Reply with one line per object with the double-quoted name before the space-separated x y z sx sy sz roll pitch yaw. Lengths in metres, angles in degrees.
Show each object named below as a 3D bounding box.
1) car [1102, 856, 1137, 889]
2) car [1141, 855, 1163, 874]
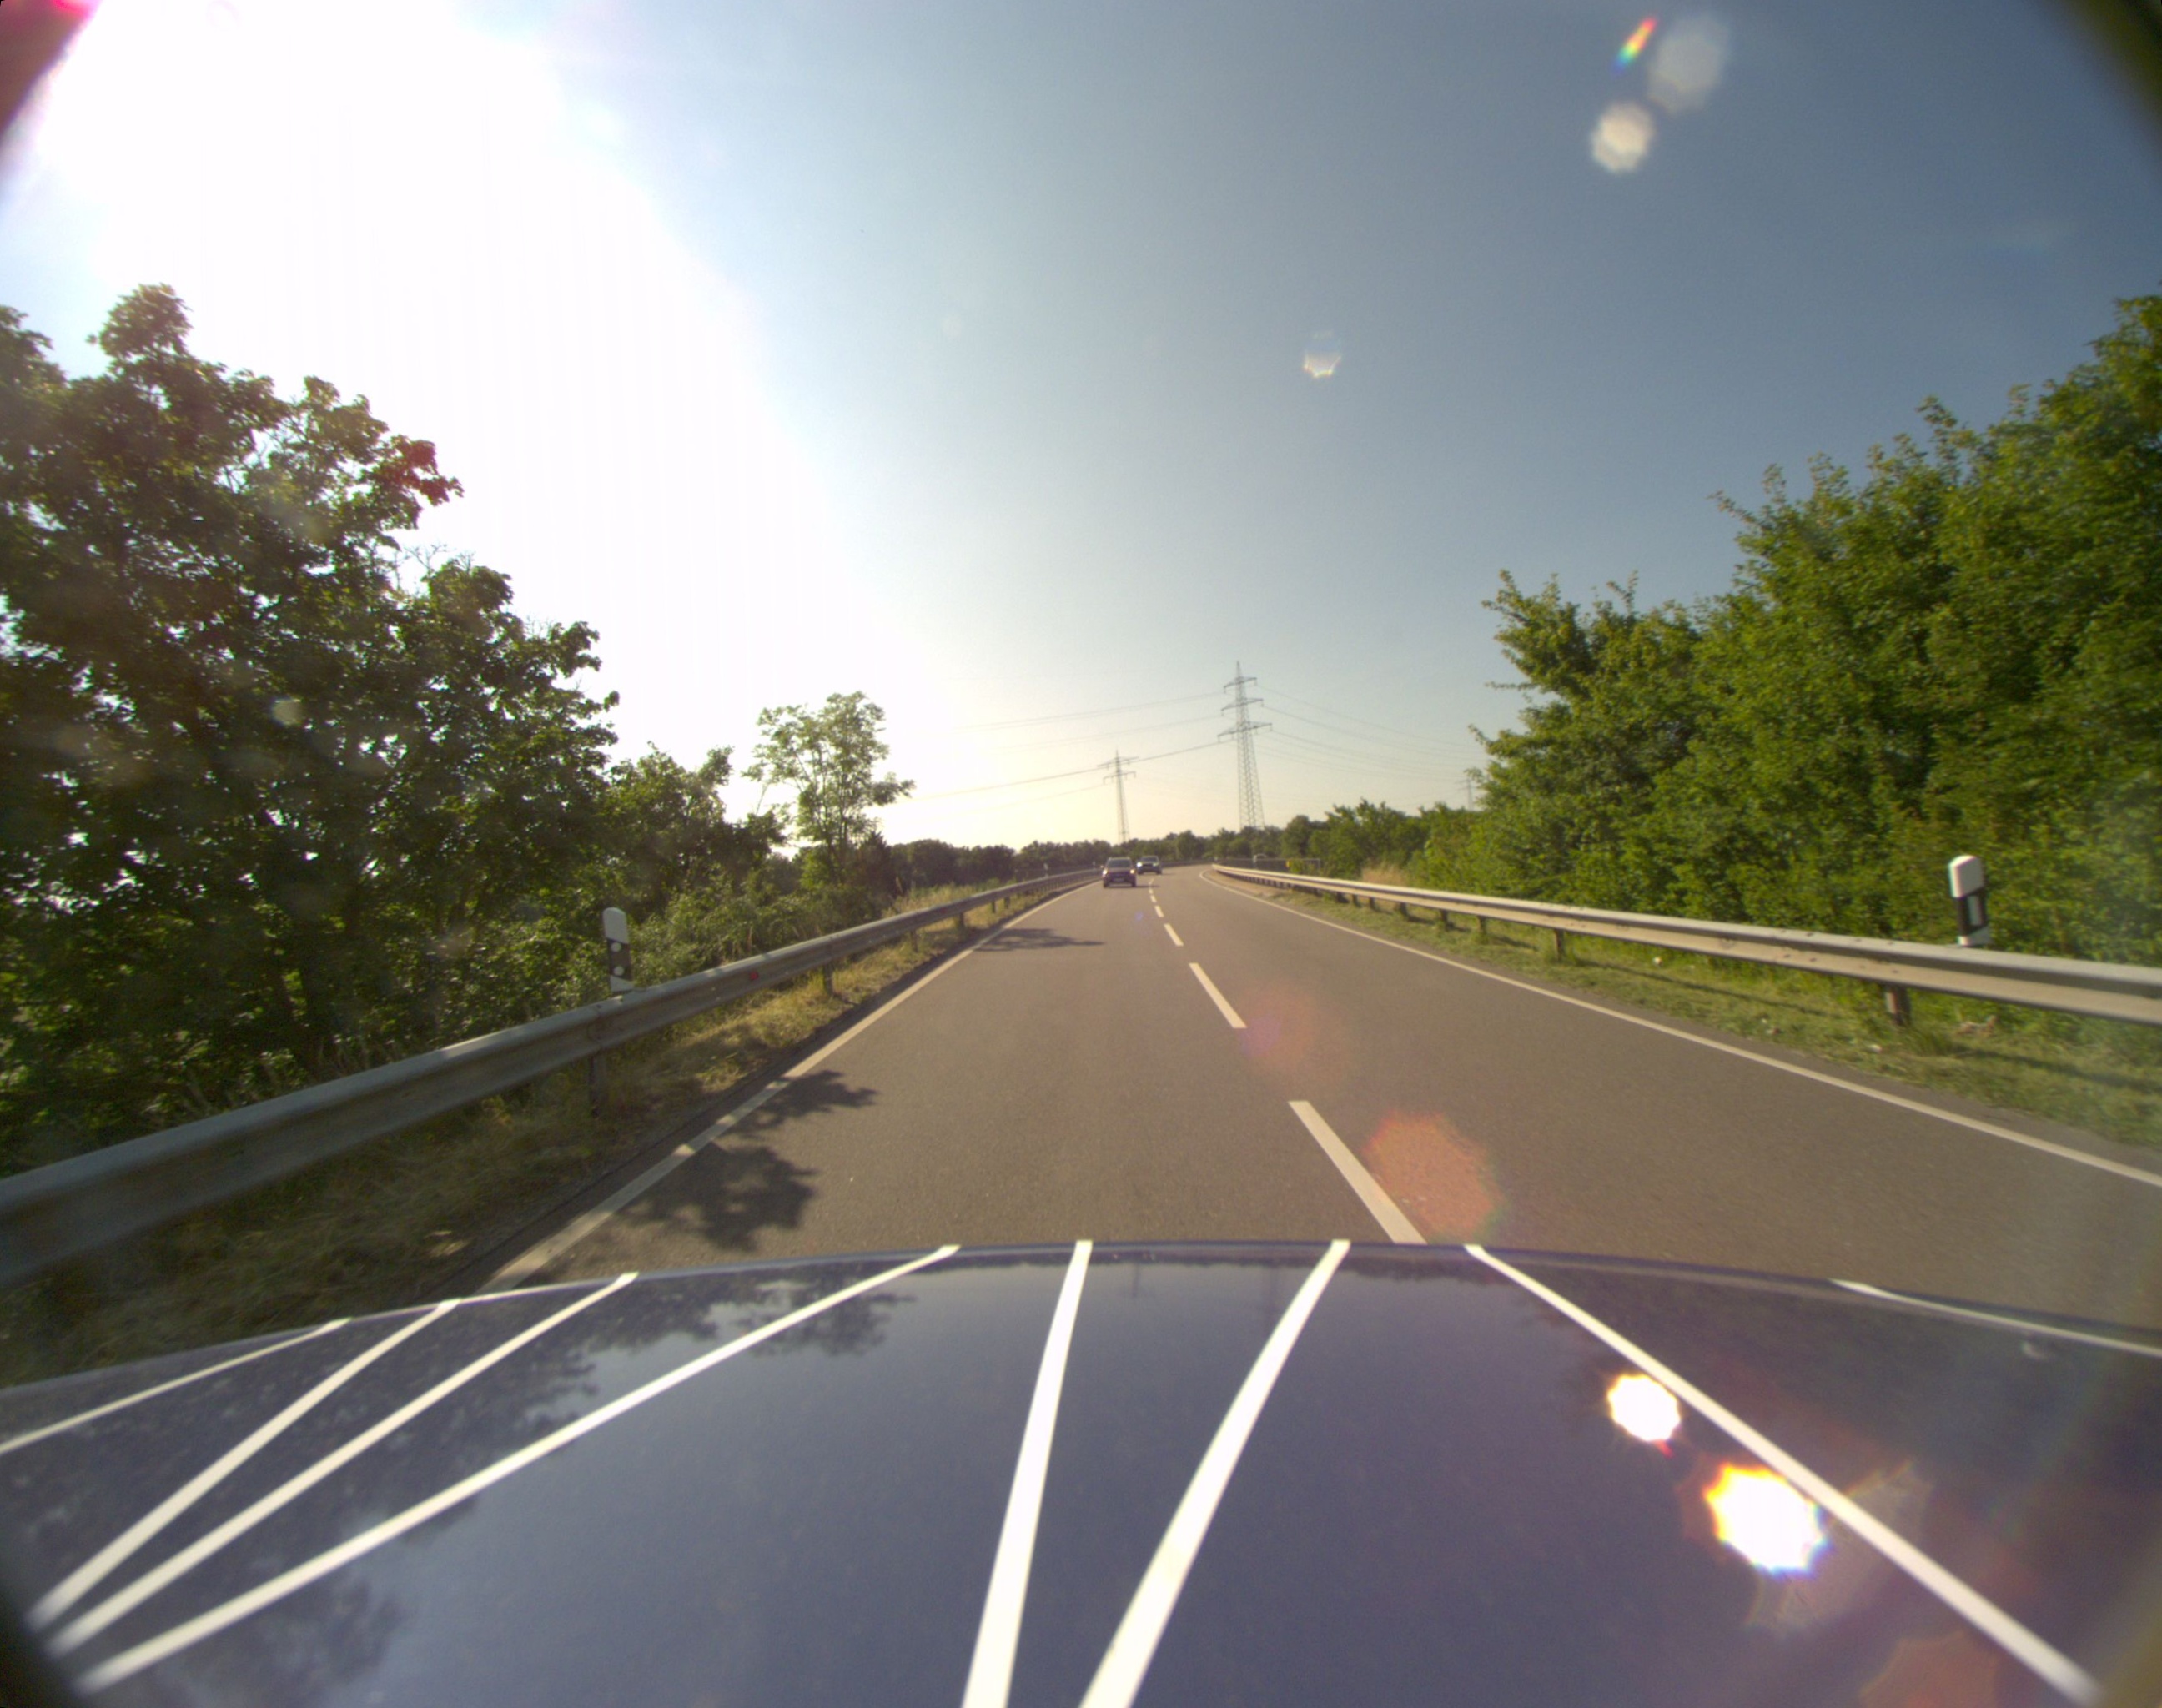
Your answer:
"car" 2.040 0.912 39.259 1.606 1.486 4.001 -3 1 5
"car" 6.298 0.906 67.321 1.606 1.486 4.002 -3 1 9
